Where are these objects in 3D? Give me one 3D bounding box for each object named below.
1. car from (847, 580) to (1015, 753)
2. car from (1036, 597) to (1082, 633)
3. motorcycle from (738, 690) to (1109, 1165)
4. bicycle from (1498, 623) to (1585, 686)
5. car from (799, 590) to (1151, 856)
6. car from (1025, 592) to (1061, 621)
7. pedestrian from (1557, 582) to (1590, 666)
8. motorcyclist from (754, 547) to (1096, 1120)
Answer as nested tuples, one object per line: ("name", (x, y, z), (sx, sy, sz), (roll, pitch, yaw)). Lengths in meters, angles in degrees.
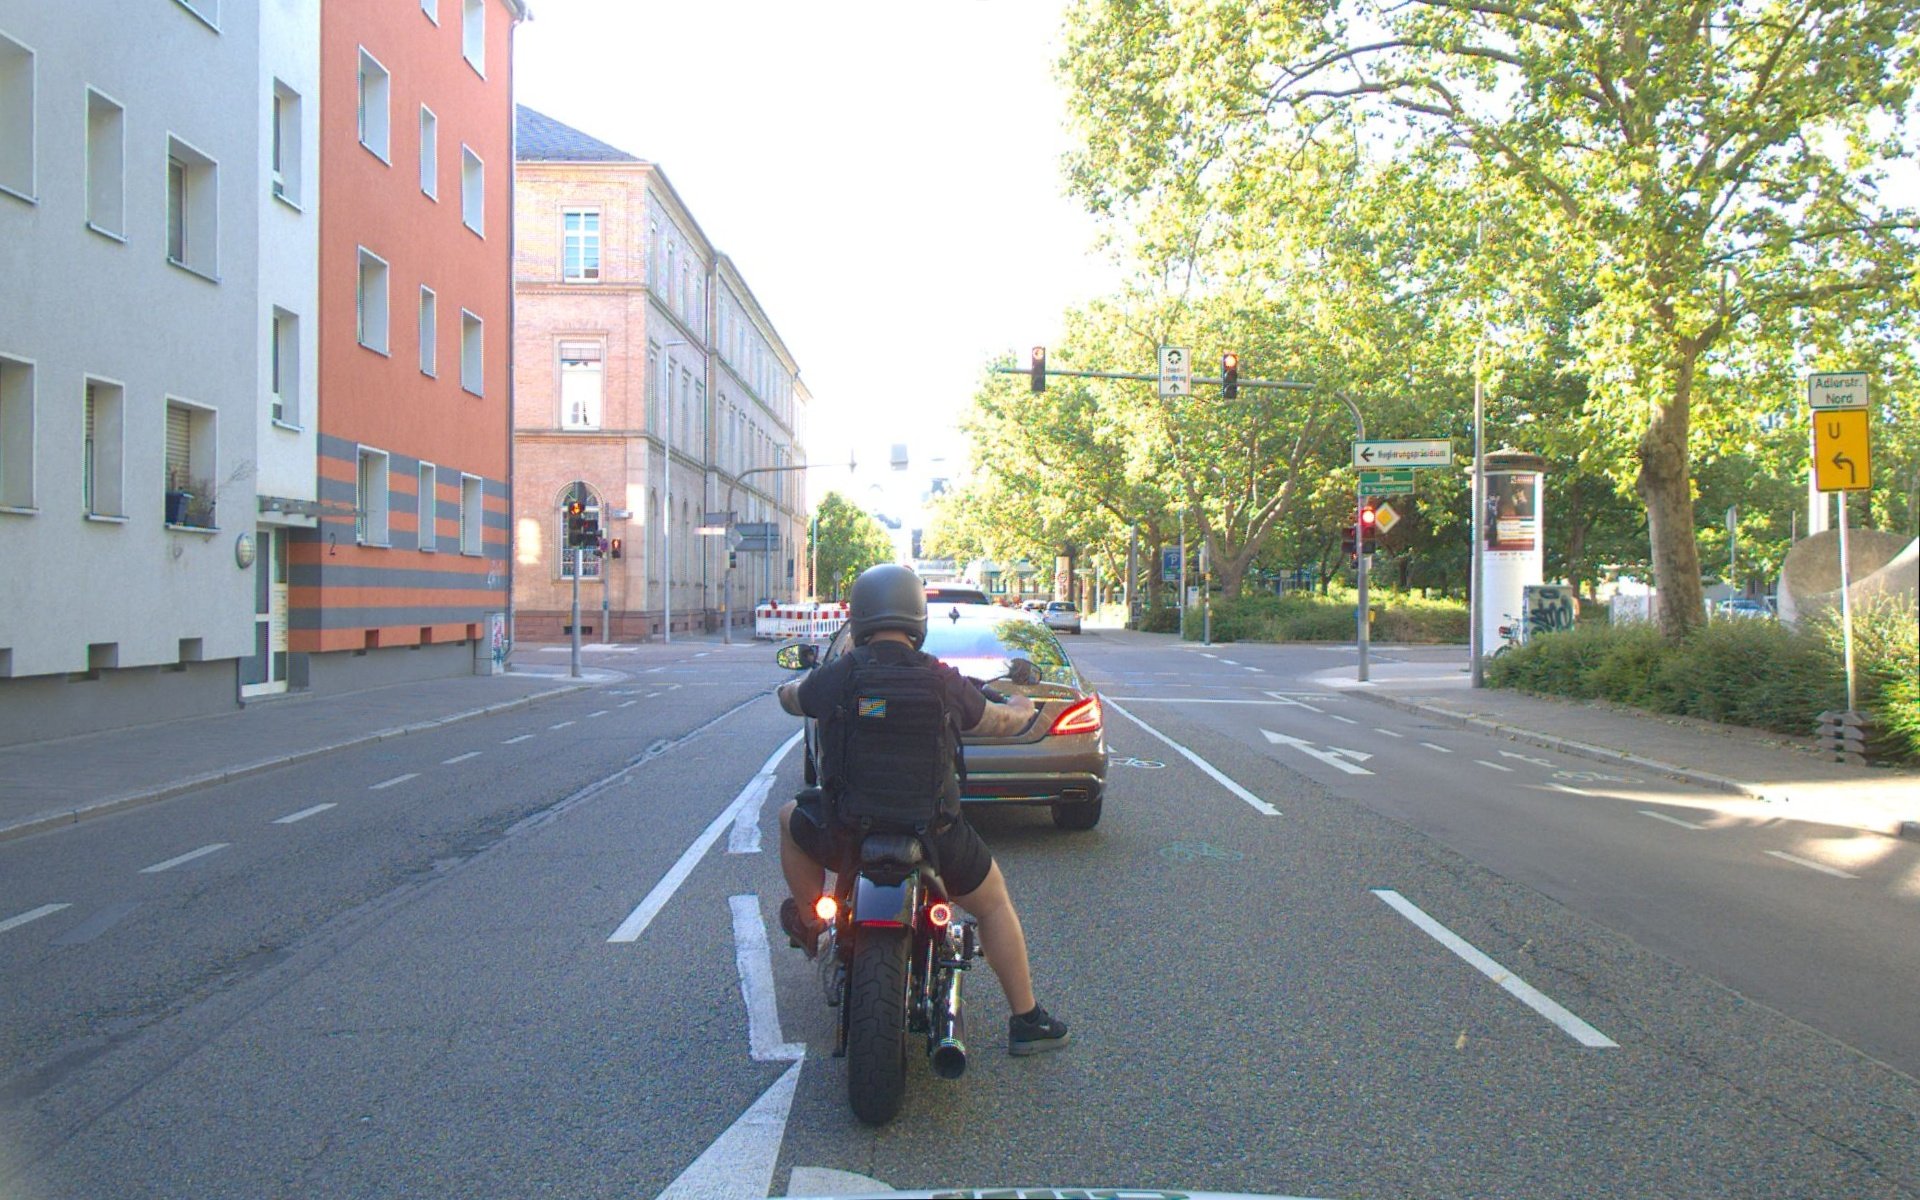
("car", (-0.331, 0.617, 17.761), (1.580, 1.636, 4.327), (0, 0, -2))
("car", (4.381, 0.648, 73.344), (1.784, 1.506, 3.908), (-1, 0, 0))
("motorcycle", (-0.112, 0.923, 5.557), (0.969, 1.097, 2.451), (0, 0, -1))
("bicycle", (9.741, 0.916, 27.726), (1.324, 1.041, 0.363), (0, 0, 0))
("car", (-0.108, 0.682, 11.597), (1.909, 1.498, 4.355), (0, 0, -7))
("car", (4.492, 0.376, 90.139), (1.817, 1.512, 3.908), (1, 0, 1))
("pedestrian", (13.867, 0.528, 37.394), (0.540, 1.881, 0.593), (0, 0, 0))
("motorcyclist", (-0.108, 0.660, 5.403), (0.969, 1.625, 1.403), (0, 0, -1))
